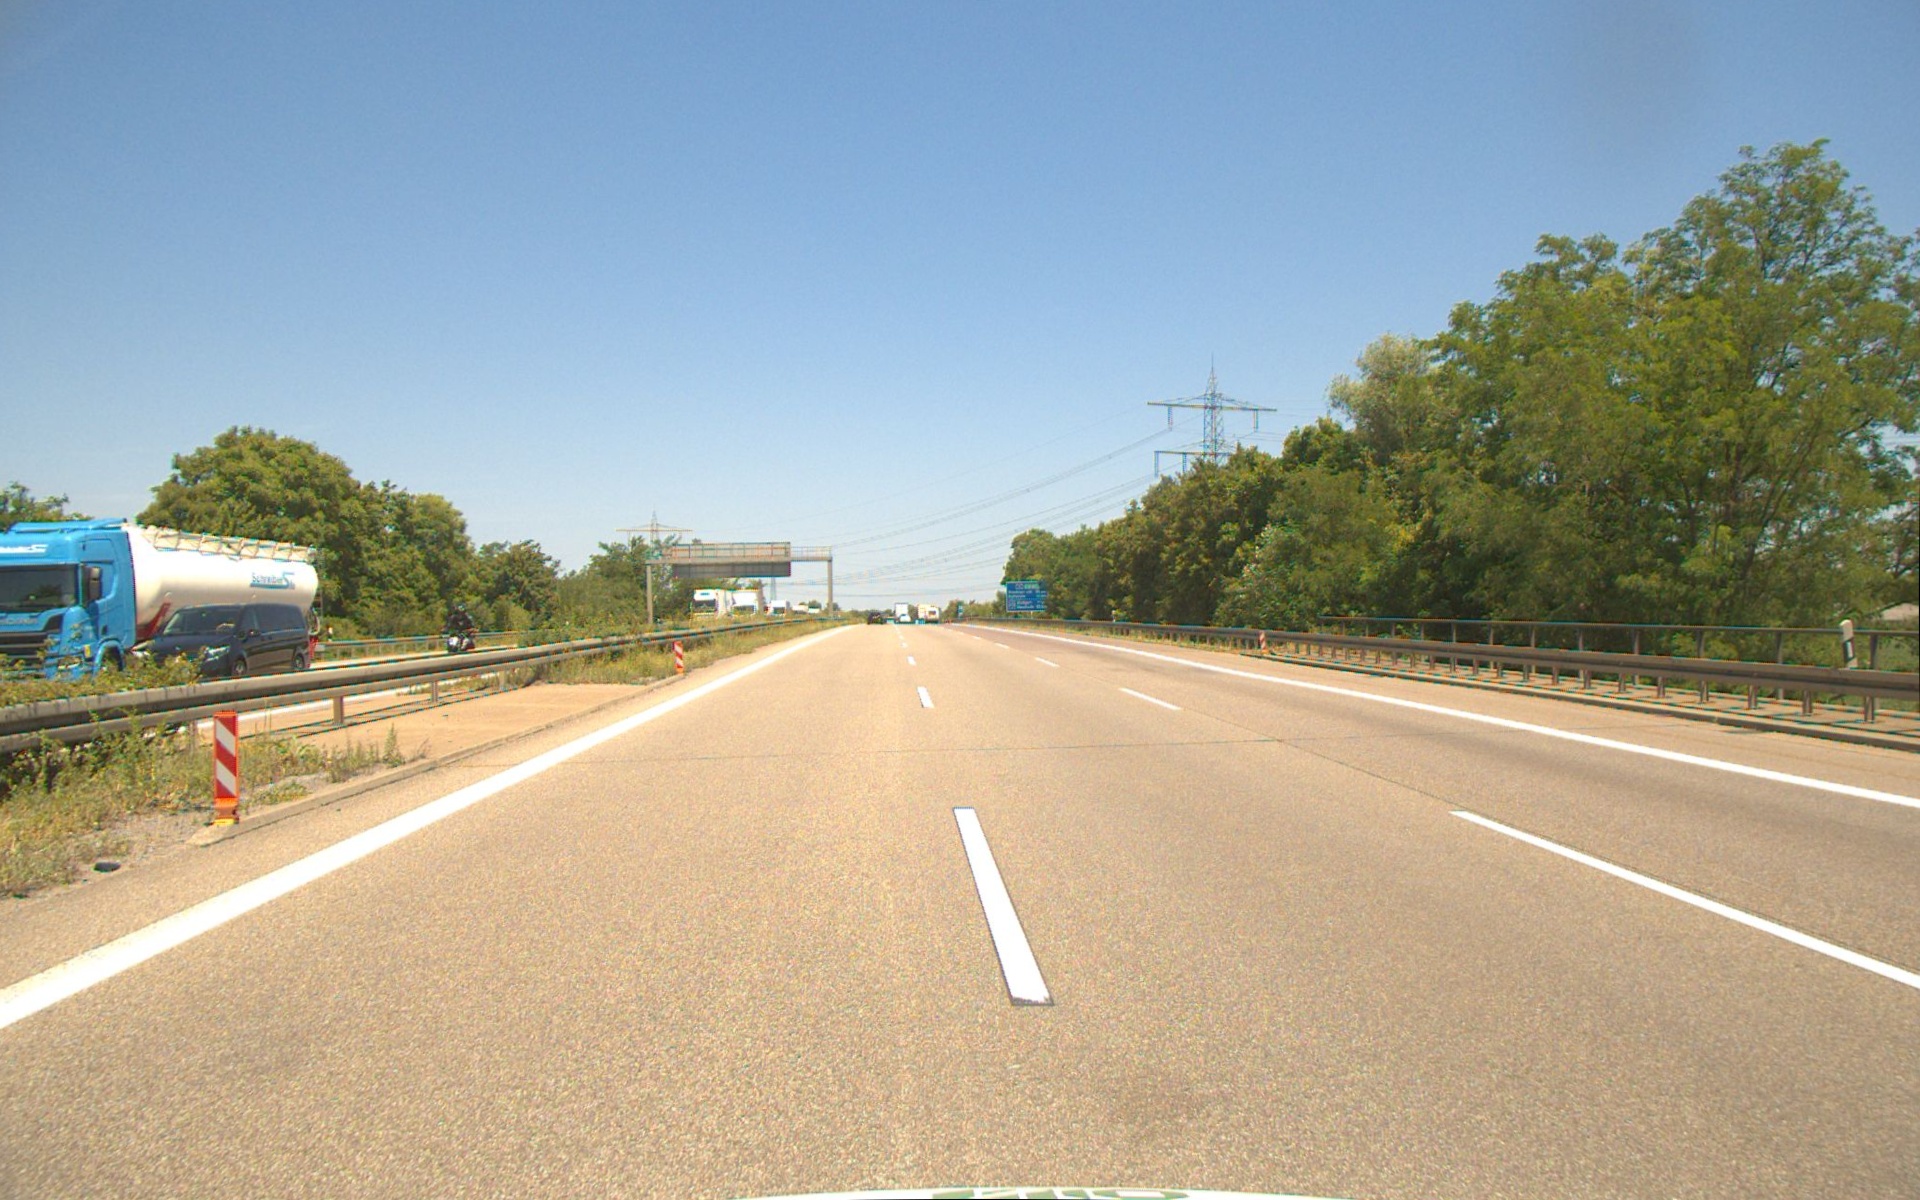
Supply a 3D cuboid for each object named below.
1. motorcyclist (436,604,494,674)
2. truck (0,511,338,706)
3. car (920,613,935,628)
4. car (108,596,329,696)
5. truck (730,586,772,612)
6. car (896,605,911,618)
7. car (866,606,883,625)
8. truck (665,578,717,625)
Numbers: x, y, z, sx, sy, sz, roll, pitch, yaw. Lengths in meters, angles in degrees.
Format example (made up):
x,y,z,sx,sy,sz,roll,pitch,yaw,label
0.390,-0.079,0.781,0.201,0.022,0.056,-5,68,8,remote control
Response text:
x,y,z,sx,sy,sz,roll,pitch,yaw,label
-11.418,0.898,38.206,0.952,1.547,1.333,-2,0,-3,motorcyclist
-20.356,0.260,43.253,2.674,4.124,15.929,-1,0,-2,truck
-4.528,2.888,232.673,1.954,2.049,3.998,-1,-1,-3,car
-16.041,0.924,36.214,2.364,1.951,5.780,-1,0,-2,car
-17.374,-0.054,137.599,2.673,2.103,7.135,-1,0,-1,truck
-8.783,1.774,257.300,2.132,1.963,4.612,-1,-1,1,car
-9.489,1.754,183.771,1.755,2.049,3.886,0,0,-2,car
-28.058,0.161,173.265,3.152,4.453,17.182,-4,0,-3,truck
